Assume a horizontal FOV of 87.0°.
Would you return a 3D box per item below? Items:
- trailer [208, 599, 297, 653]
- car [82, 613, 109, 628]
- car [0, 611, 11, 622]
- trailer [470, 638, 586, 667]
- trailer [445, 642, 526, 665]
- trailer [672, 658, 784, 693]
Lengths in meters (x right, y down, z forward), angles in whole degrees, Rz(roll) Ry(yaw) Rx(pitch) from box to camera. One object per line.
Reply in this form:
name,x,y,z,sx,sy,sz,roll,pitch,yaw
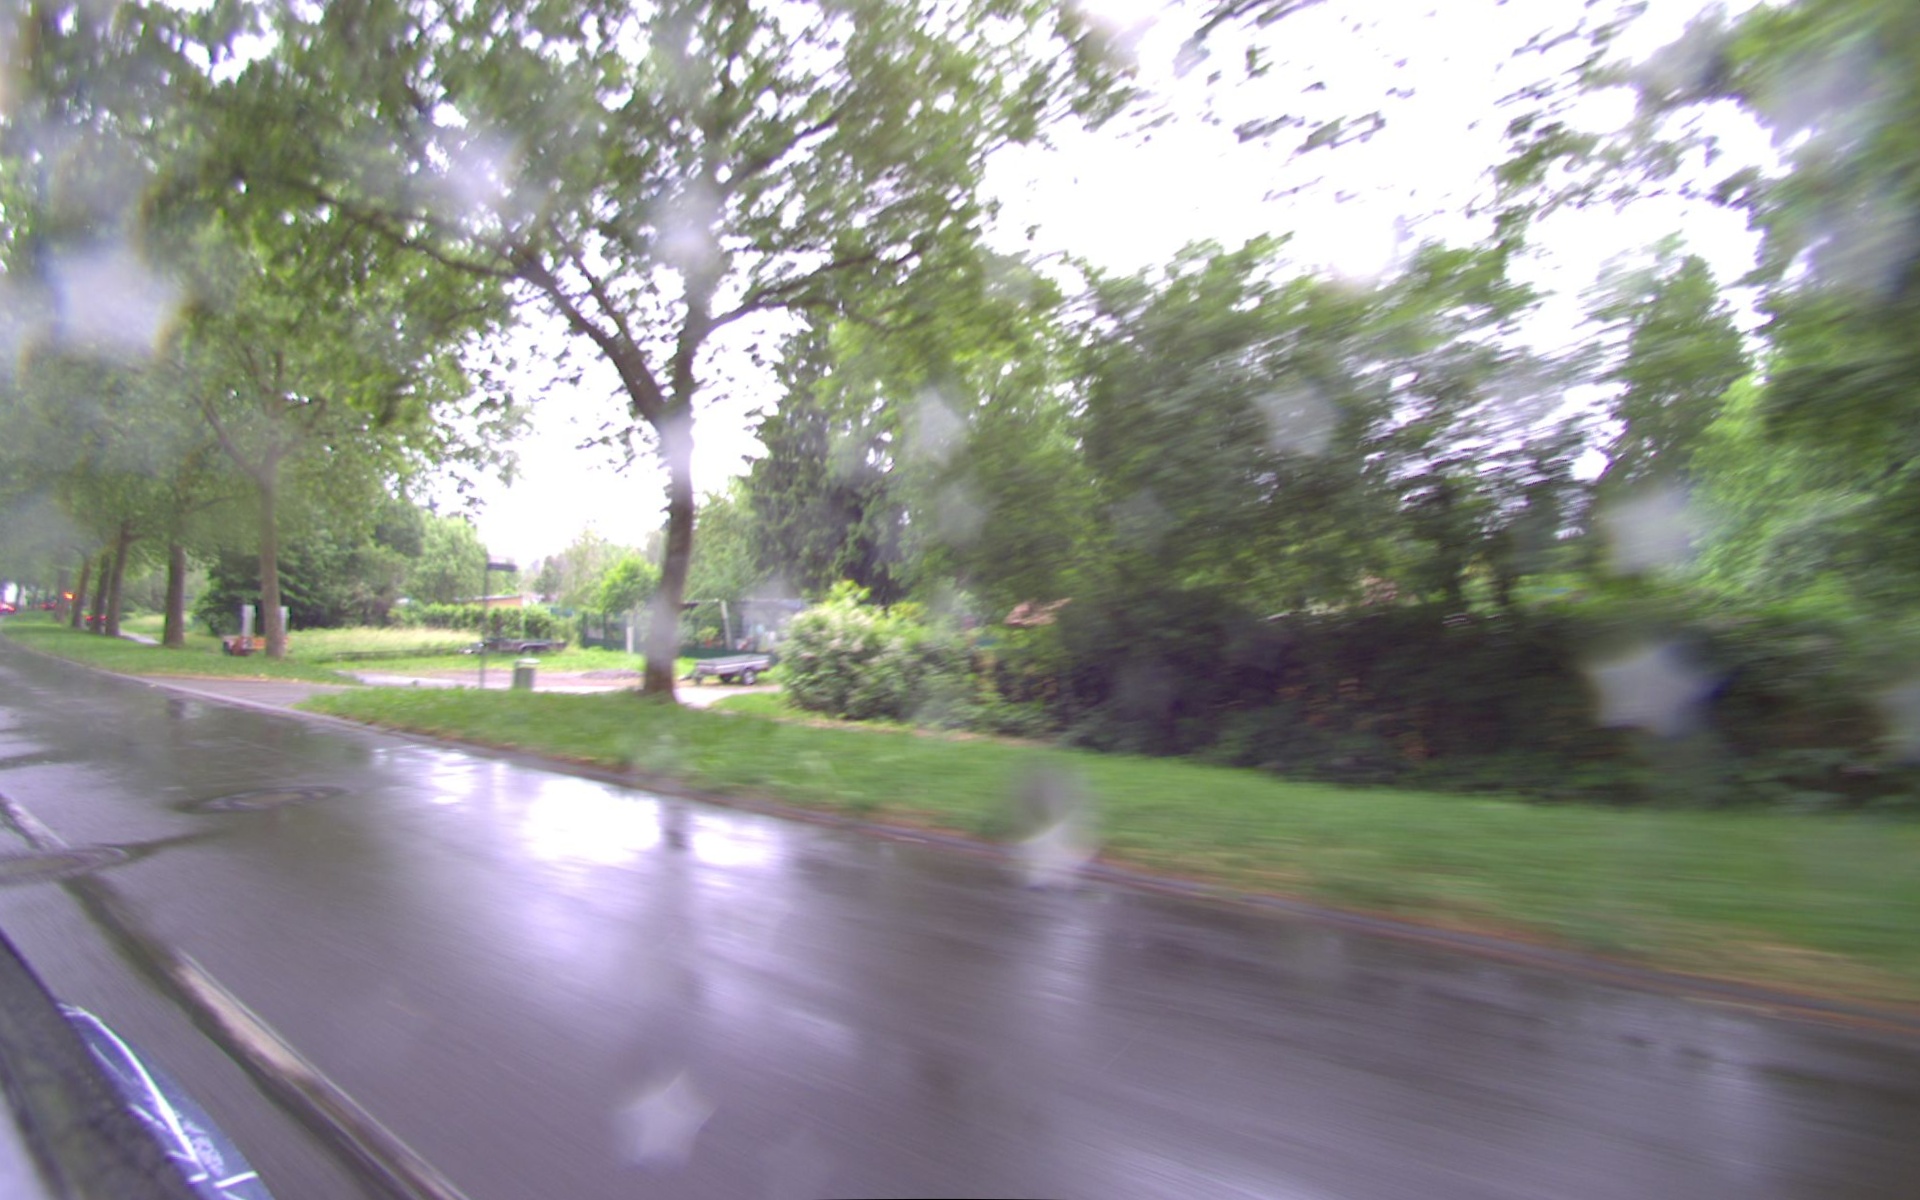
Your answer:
trailer,-37.450,1.284,53.491,2.766,2.684,6.656,0,0,-45
car,-102.558,2.441,120.027,1.868,1.695,4.011,0,0,-32
car,-127.252,2.146,134.474,3.374,1.464,1.572,0,0,43
trailer,-19.625,2.361,46.083,2.382,1.040,4.270,0,0,42
trailer,-22.431,2.515,47.863,1.769,0.952,3.041,0,0,43
trailer,-7.216,2.330,31.587,2.994,0.844,1.679,0,0,-44
